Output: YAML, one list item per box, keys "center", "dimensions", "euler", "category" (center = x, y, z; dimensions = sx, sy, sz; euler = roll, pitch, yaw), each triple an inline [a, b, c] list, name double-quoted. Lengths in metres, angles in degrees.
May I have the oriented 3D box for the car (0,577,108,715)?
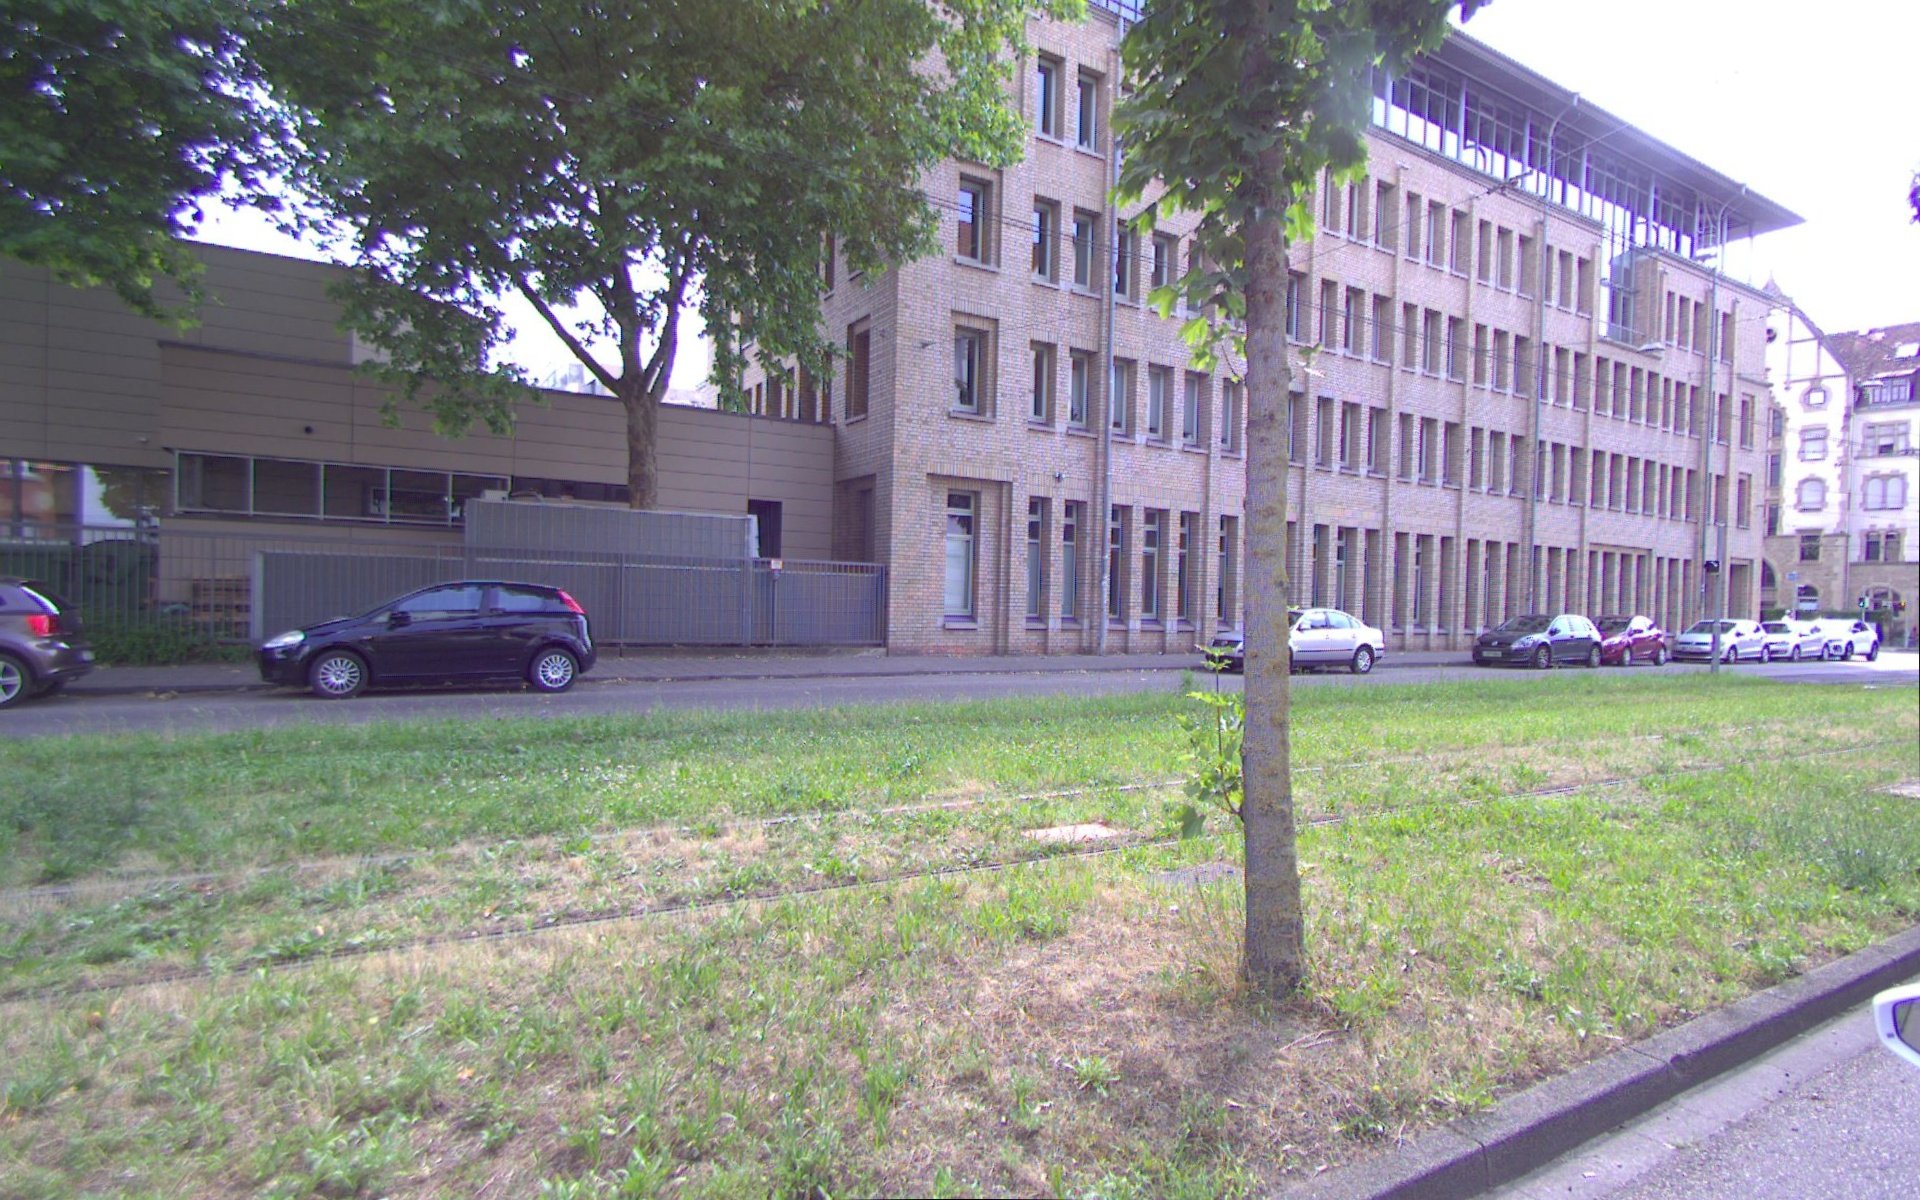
- center: [-11.689, 0.448, 10.607]
  dimensions: [3.857, 1.445, 1.546]
  euler: [1, 0, -31]
  category: "car"

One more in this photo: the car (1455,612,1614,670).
- center: [15.768, 1.105, 27.550]
  dimensions: [4.189, 1.415, 1.924]
  euler: [1, 0, -30]
  category: "car"

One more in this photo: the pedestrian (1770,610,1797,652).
- center: [36.031, 1.343, 43.967]
  dimensions: [0.749, 1.819, 0.957]
  euler: [2, 1, 34]
  category: "pedestrian"

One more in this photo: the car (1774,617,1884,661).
- center: [33.353, 1.490, 38.538]
  dimensions: [4.207, 1.555, 1.924]
  euler: [1, 0, -30]
  category: "car"

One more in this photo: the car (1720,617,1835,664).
- center: [29.520, 1.444, 36.266]
  dimensions: [3.967, 1.551, 1.924]
  euler: [1, 0, -30]
  category: "car"

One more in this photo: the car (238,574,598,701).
- center: [-7.051, 0.468, 13.414]
  dimensions: [3.950, 1.472, 1.795]
  euler: [1, 0, -28]
  category: "car"

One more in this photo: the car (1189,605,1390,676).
- center: [7.337, 0.881, 22.267]
  dimensions: [4.432, 1.415, 1.707]
  euler: [1, 0, -30]
  category: "car"

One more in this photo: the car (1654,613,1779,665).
- center: [25.139, 1.281, 33.367]
  dimensions: [4.160, 1.551, 1.842]
  euler: [1, 0, -30]
  category: "car"

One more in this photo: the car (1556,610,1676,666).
- center: [19.570, 1.121, 29.963]
  dimensions: [3.507, 1.551, 1.575]
  euler: [1, 0, -30]
  category: "car"
